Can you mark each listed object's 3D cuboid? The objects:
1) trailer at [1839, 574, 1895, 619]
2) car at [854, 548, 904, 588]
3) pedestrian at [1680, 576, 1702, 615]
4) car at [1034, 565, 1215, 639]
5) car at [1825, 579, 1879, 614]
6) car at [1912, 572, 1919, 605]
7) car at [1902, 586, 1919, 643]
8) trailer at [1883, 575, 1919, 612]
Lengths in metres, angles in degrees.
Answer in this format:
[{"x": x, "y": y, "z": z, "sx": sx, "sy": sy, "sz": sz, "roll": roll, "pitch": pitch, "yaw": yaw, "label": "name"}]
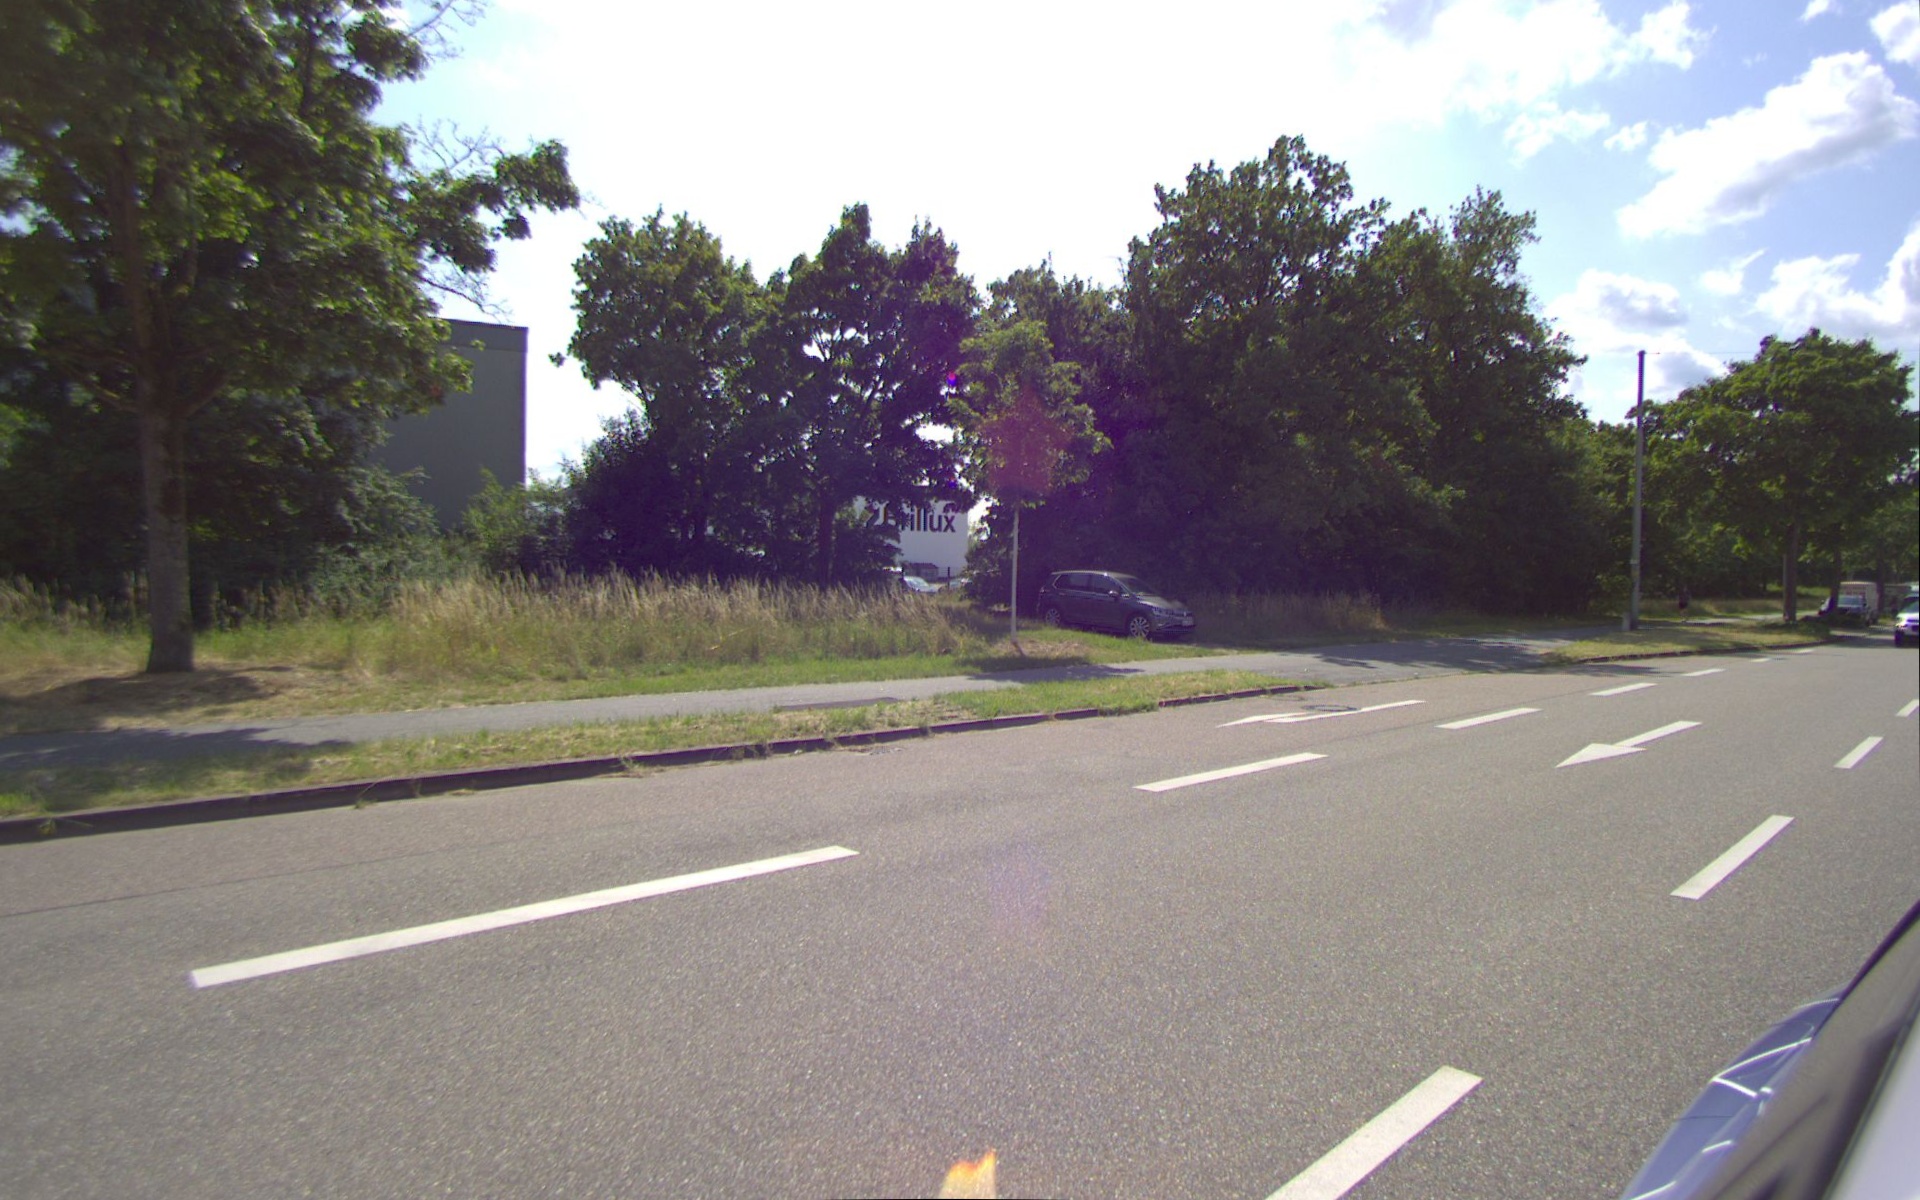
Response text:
[{"x": 50.964, "y": -0.242, "z": 56.832, "sx": 4.530, "sy": 2.380, "sz": 1.955, "roll": -1, "pitch": 3, "yaw": -44, "label": "trailer"}, {"x": -6.487, "y": -2.483, "z": 80.348, "sx": 1.960, "sy": 2.956, "sz": 5.362, "roll": -1, "pitch": 0, "yaw": -29, "label": "car"}, {"x": 34.588, "y": -0.195, "z": 47.873, "sx": 0.727, "sy": 1.816, "sz": 0.718, "roll": -1, "pitch": 0, "yaw": -43, "label": "pedestrian"}, {"x": 4.057, "y": 0.020, "z": 25.416, "sx": 4.167, "sy": 1.511, "sz": 1.755, "roll": 6, "pitch": 3, "yaw": 45, "label": "car"}, {"x": 46.311, "y": -0.206, "z": 52.538, "sx": 4.288, "sy": 1.711, "sz": 1.593, "roll": -1, "pitch": 3, "yaw": -42, "label": "car"}, {"x": 86.955, "y": -0.996, "z": 90.374, "sx": 6.655, "sy": 2.836, "sz": 2.260, "roll": -1, "pitch": 4, "yaw": -43, "label": "car"}, {"x": 32.266, "y": 0.457, "z": 32.908, "sx": 4.633, "sy": 1.808, "sz": 1.933, "roll": 0, "pitch": -1, "yaw": -41, "label": "car"}, {"x": 66.138, "y": -0.486, "z": 70.571, "sx": 4.701, "sy": 2.393, "sz": 1.998, "roll": -1, "pitch": 6, "yaw": -42, "label": "trailer"}]
